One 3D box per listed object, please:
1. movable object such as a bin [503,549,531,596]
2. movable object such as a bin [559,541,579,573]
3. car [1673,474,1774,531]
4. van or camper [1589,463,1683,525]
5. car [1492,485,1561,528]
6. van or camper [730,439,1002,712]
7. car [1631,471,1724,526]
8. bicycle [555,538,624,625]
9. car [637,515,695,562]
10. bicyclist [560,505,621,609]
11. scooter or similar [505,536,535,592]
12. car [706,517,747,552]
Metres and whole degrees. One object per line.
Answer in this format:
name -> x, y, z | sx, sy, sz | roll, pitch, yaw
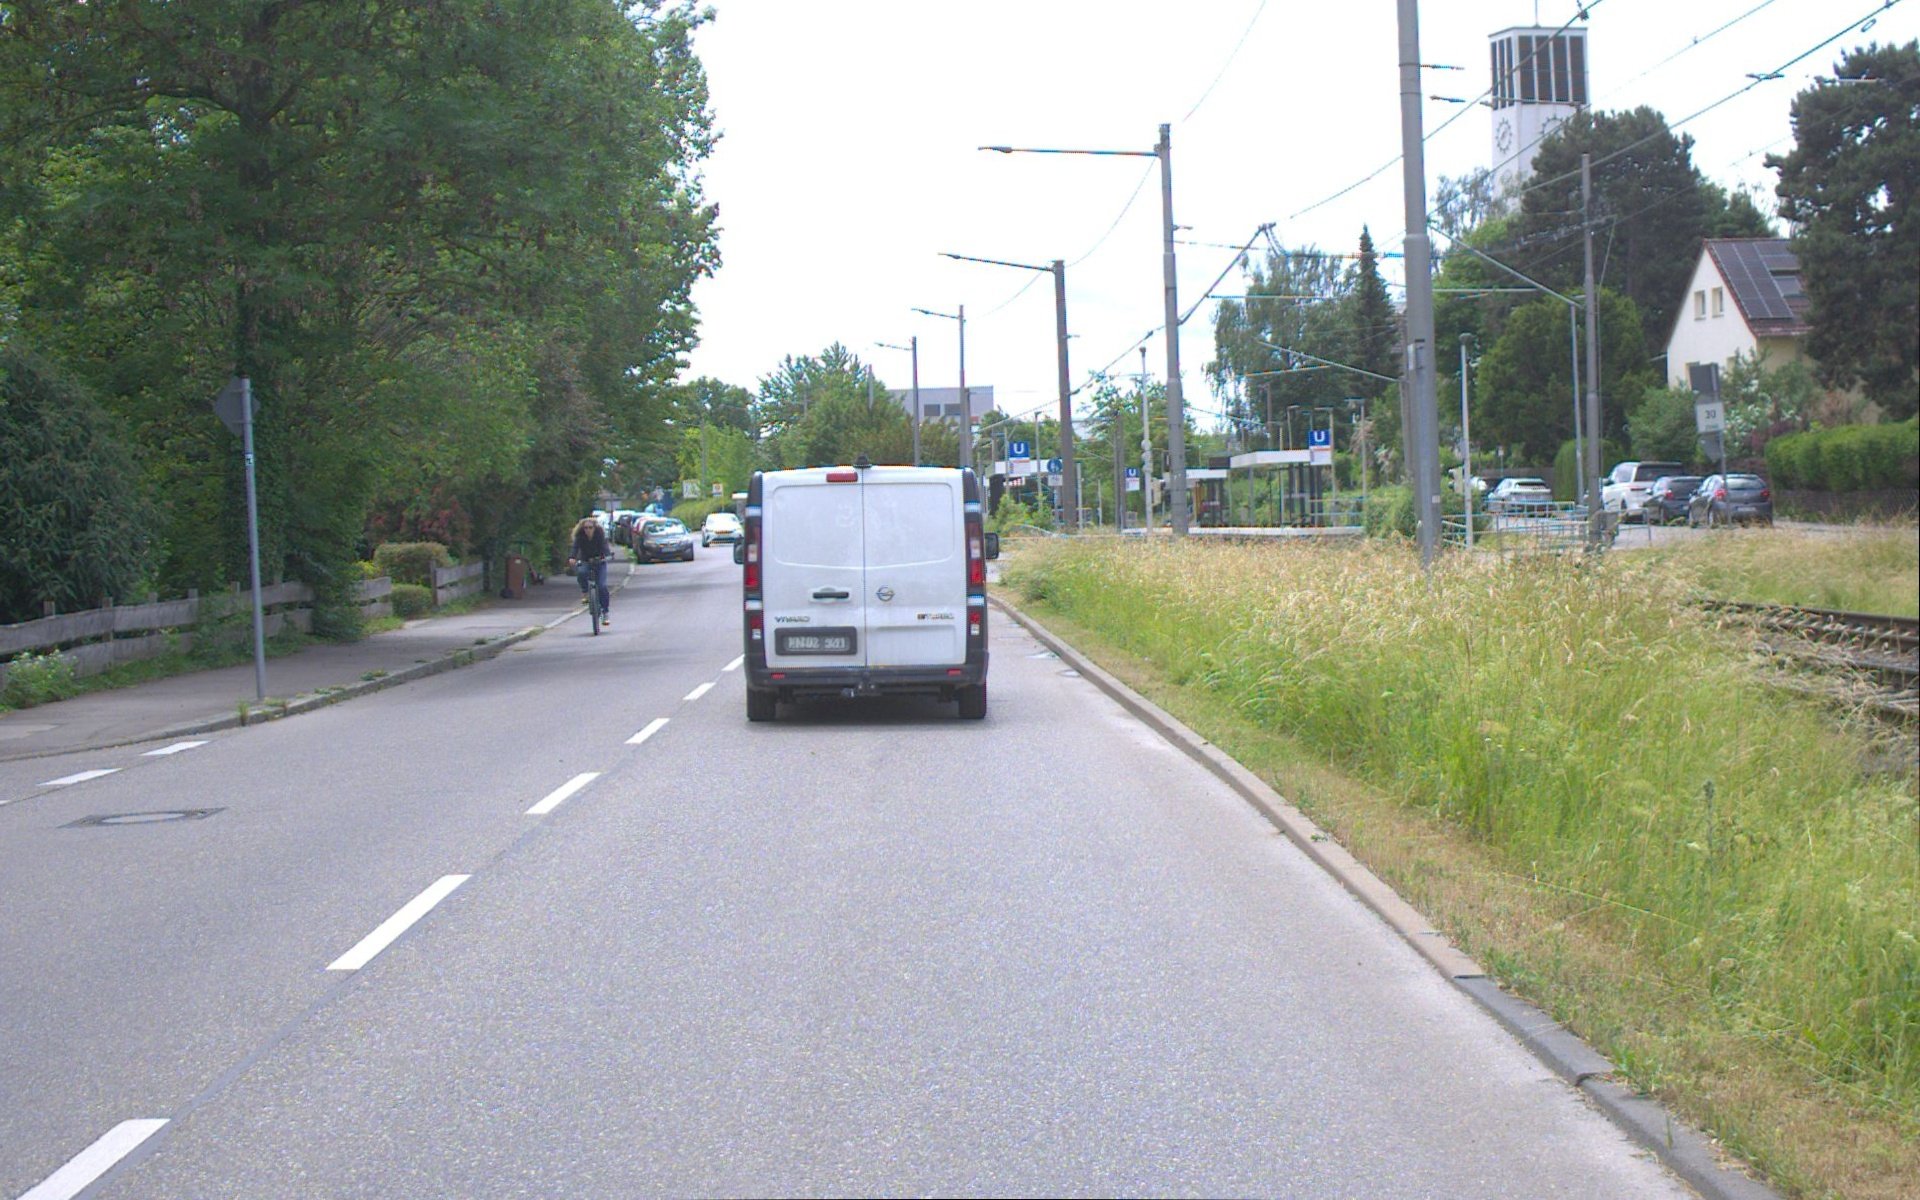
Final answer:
movable object such as a bin -> -9.156, -0.572, 71.078 | 0.513, 0.941, 0.568 | -1, 1, -1
movable object such as a bin -> -11.201, -1.232, 98.479 | 0.462, 0.927, 0.430 | 2, 0, -18
car -> 21.231, -2.708, 95.753 | 1.883, 1.517, 4.000 | -2, 1, 0
van or camper -> 20.934, -3.272, 106.628 | 1.905, 1.819, 5.048 | -2, 1, 0
car -> 21.143, -3.500, 128.337 | 1.883, 1.517, 4.000 | -2, 1, 0
van or camper -> -0.711, -0.220, 27.590 | 1.993, 2.007, 4.446 | 0, 1, 0
car -> 21.201, -2.996, 101.781 | 1.883, 1.517, 4.000 | -2, 1, 0
bicycle -> -5.594, -0.293, 52.022 | 0.755, 1.222, 2.308 | -3, 1, -1
car -> -10.099, -2.121, 117.862 | 1.736, 1.499, 4.479 | -4, 2, -7
bicyclist -> -5.594, -0.658, 52.109 | 0.778, 1.544, 0.870 | -2, 1, -1
scooter or similar -> -9.803, -0.810, 76.644 | 0.408, 1.195, 1.639 | -2, 1, 0
car -> -10.302, -2.897, 151.368 | 1.693, 1.425, 3.787 | -4, 2, -4
